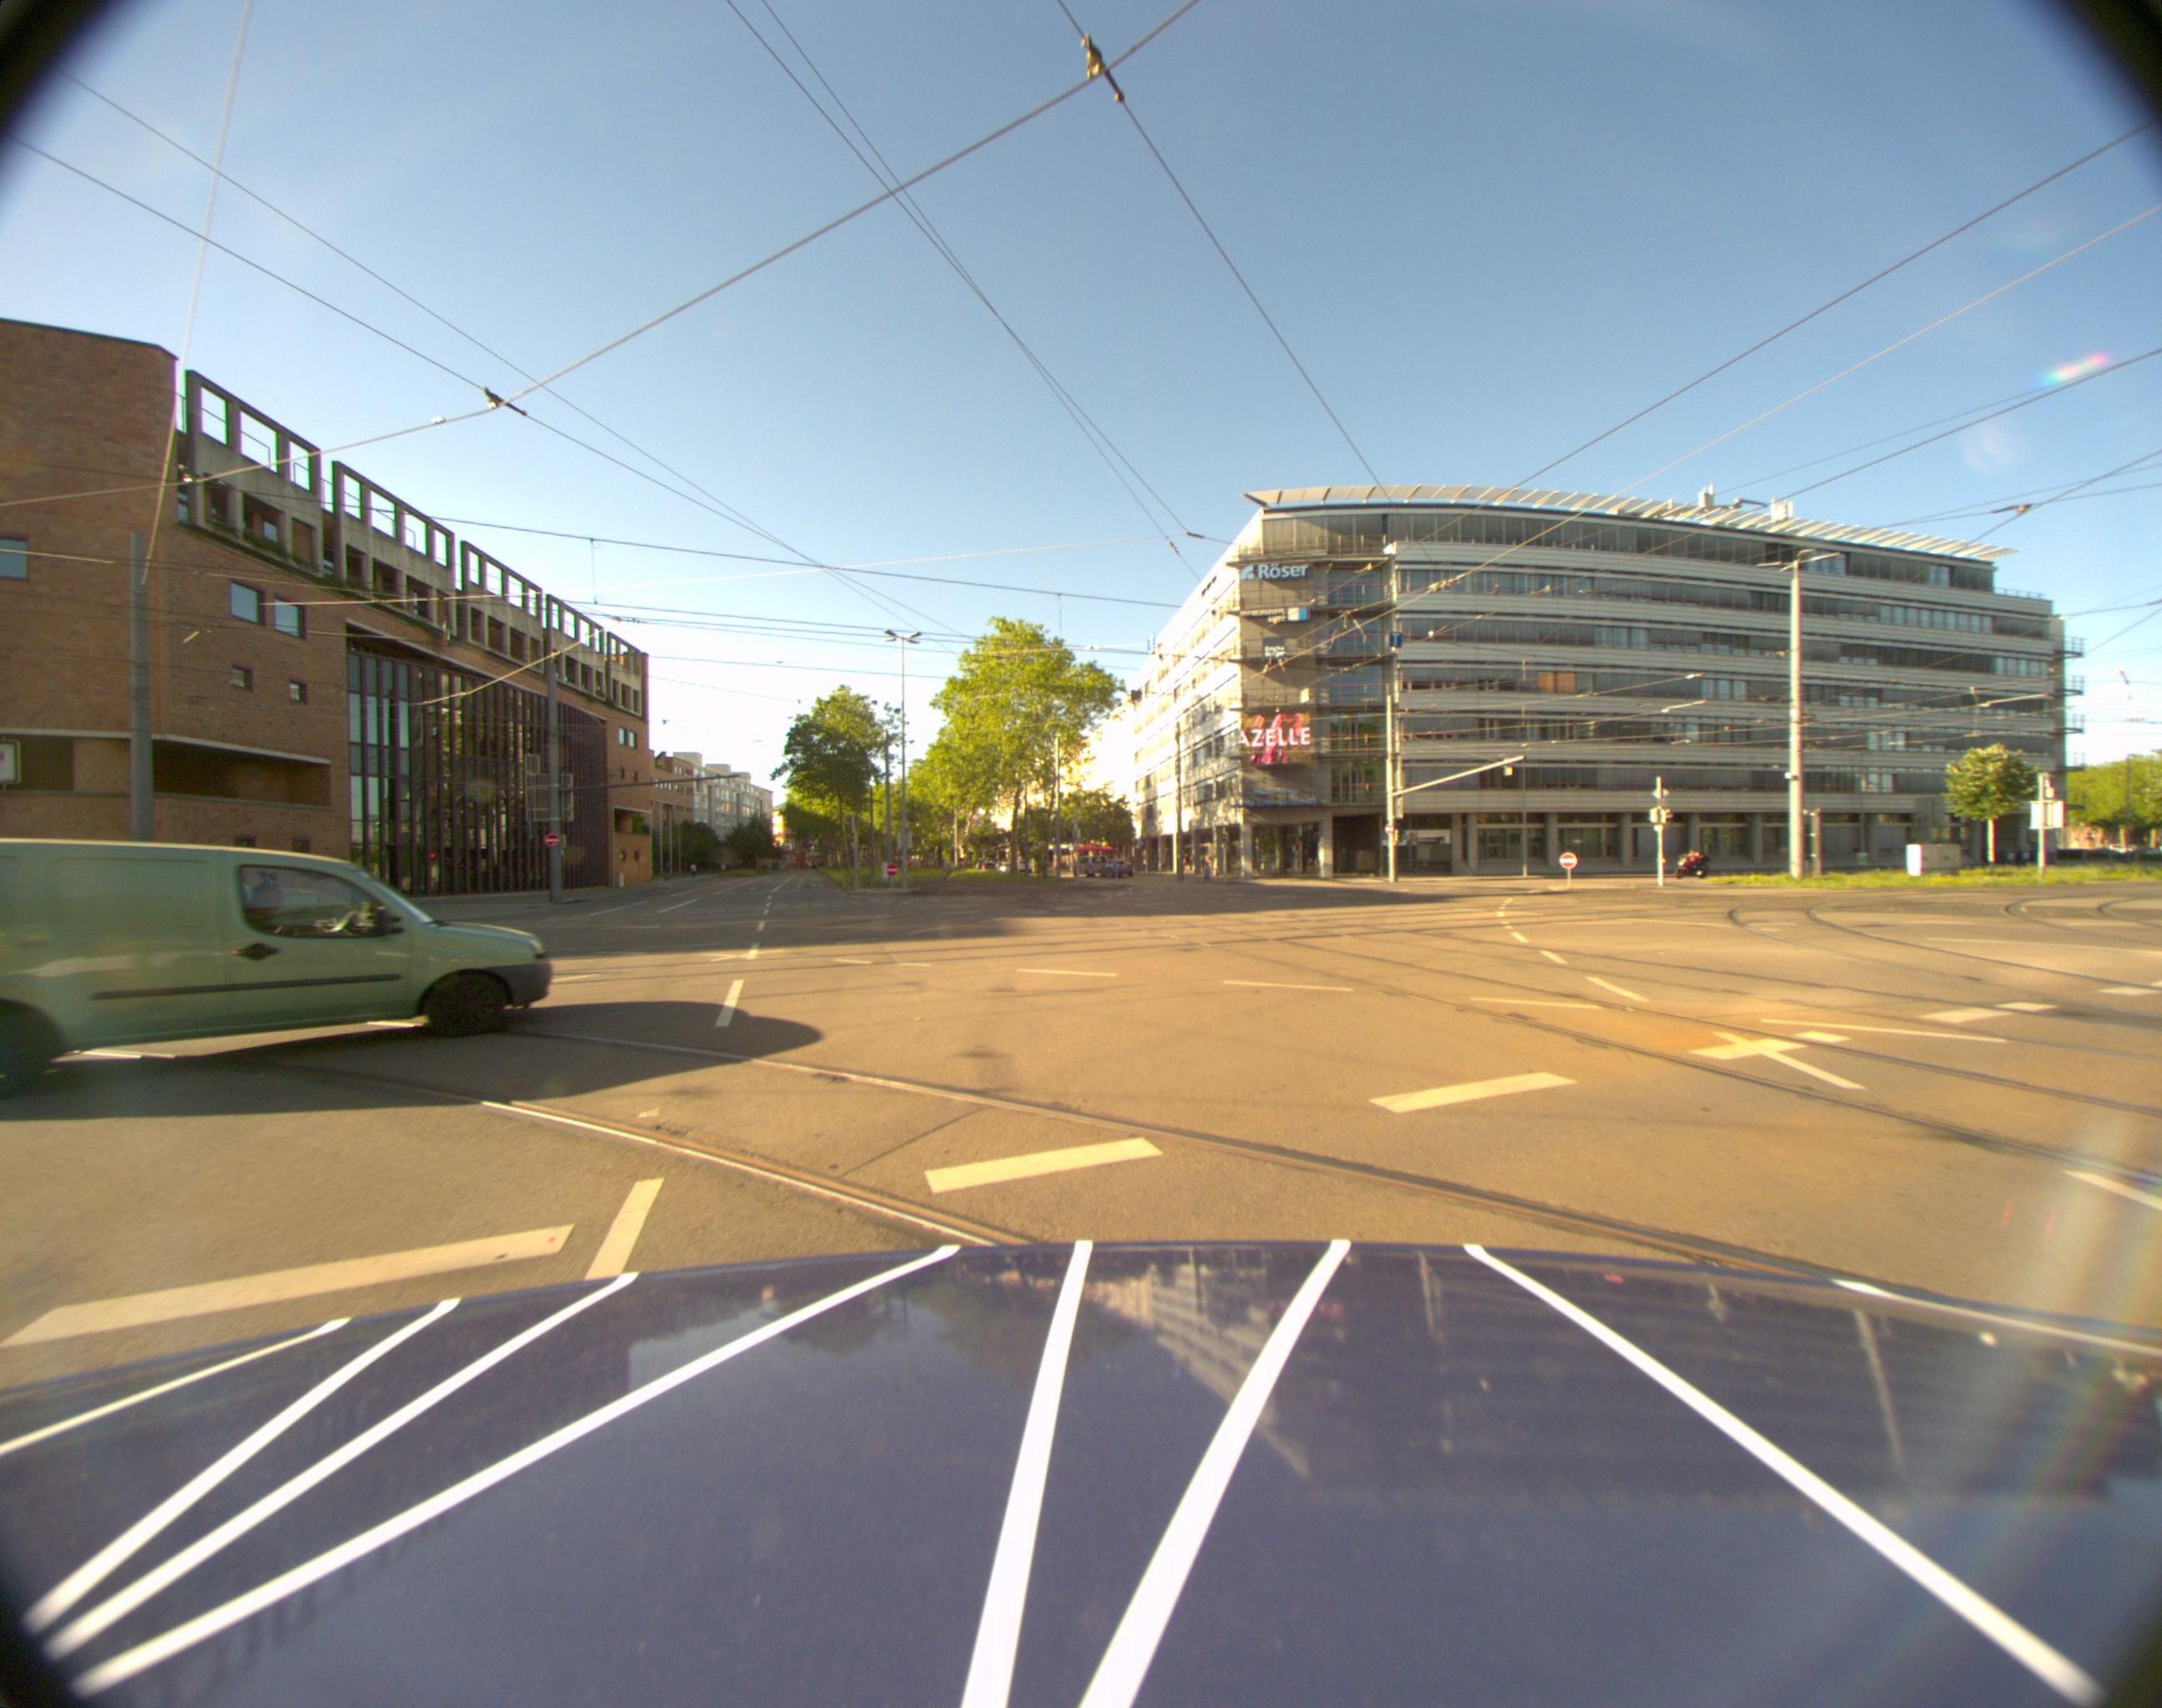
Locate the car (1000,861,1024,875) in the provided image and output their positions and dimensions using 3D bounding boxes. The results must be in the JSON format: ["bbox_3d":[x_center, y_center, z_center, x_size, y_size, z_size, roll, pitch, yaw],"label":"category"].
[{"bbox_3d":[-6.911,1.420,76.320,1.668,1.380,3.531,0,-1,-18],"label":"car"}]

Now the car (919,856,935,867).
[{"bbox_3d":[-27.735,1.348,137.136,1.826,1.758,4.308,-2,-2,-25],"label":"car"}]

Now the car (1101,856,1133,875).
[{"bbox_3d":[2.927,0.958,63.141,1.867,1.466,3.974,-2,0,-8],"label":"car"}]

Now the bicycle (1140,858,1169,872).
[{"bbox_3d":[6.368,0.938,65.858,2.394,1.206,0.775,-1,-1,-7],"label":"bicycle"}]

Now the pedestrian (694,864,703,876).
[{"bbox_3d":[-43.658,1.792,86.749,0.813,1.376,0.686,-2,1,-18],"label":"pedestrian"}]

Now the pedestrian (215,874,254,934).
[{"bbox_3d":[-25.577,1.497,22.958,0.550,1.776,0.572,-2,2,-29],"label":"pedestrian"}]

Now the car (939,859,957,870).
[{"bbox_3d":[-19.423,1.523,111.024,1.702,1.466,3.974,-2,0,-23],"label":"car"}]

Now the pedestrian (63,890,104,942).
[{"bbox_3d":[-29.433,1.815,22.429,0.574,1.468,0.547,-1,0,-38],"label":"pedestrian"}]

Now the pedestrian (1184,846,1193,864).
[{"bbox_3d":[10.178,0.095,71.864,0.586,1.723,0.793,-2,-1,-2],"label":"pedestrian"}]

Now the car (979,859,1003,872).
[{"bbox_3d":[-10.342,1.312,87.104,1.869,1.466,3.971,-2,0,-20],"label":"car"}]

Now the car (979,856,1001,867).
[{"bbox_3d":[-12.895,1.121,107.218,1.869,1.466,3.969,-2,0,-26],"label":"car"}]

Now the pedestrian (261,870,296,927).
[{"bbox_3d":[-25.537,1.403,24.181,0.550,1.776,0.572,-2,2,-29],"label":"pedestrian"}]

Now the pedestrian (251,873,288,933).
[{"bbox_3d":[-24.912,1.486,23.329,0.550,1.776,0.572,-2,2,-29],"label":"pedestrian"}]

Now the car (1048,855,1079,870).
[{"bbox_3d":[-1.888,0.886,81.252,1.869,1.466,3.969,-2,0,-26],"label":"car"}]

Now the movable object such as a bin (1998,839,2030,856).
[{"bbox_3d":[77.192,-0.533,62.873,1.329,1.293,1.173,-2,0,-10],"label":"movable object such as a bin"}]

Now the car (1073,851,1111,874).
[{"bbox_3d":[0.911,0.751,68.179,1.869,2.004,4.450,-2,0,-21],"label":"car"}]

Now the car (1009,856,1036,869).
[{"bbox_3d":[-7.093,1.039,91.137,1.869,1.466,3.969,-2,0,-26],"label":"car"}]

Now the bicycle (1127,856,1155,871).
[{"bbox_3d":[5.267,0.833,67.074,2.398,1.206,0.773,-1,-1,-28],"label":"bicycle"}]

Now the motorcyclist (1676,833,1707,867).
[{"bbox_3d":[33.924,-0.238,42.240,1.113,1.847,0.821,-2,1,-13],"label":"motorcyclist"}]

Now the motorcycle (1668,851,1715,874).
[{"bbox_3d":[33.942,0.476,42.256,2.256,1.214,0.821,-2,1,-13],"label":"motorcycle"}]

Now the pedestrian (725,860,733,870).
[{"bbox_3d":[-49.312,1.493,106.452,0.813,1.376,0.686,-2,1,-18],"label":"pedestrian"}]

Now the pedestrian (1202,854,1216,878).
[{"bbox_3d":[8.671,0.807,51.536,0.661,1.630,0.792,-1,0,-14],"label":"pedestrian"}]

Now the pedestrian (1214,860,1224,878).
[{"bbox_3d":[9.326,0.994,51.309,0.443,1.203,0.461,-1,0,-14],"label":"pedestrian"}]

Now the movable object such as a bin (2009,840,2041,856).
[{"bbox_3d":[78.505,-0.507,63.187,1.329,1.293,1.173,-2,0,-10],"label":"movable object such as a bin"}]

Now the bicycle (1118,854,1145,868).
[{"bbox_3d":[4.683,0.669,70.092,2.398,1.206,0.773,-1,-1,-28],"label":"bicycle"}]

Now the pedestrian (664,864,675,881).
[{"bbox_3d":[-38.911,1.737,71.896,0.814,1.596,0.685,-2,1,-33],"label":"pedestrian"}]

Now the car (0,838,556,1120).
[{"bbox_3d":[-7.229,0.835,6.511,1.839,1.826,4.115,1,3,43],"label":"car"}]
